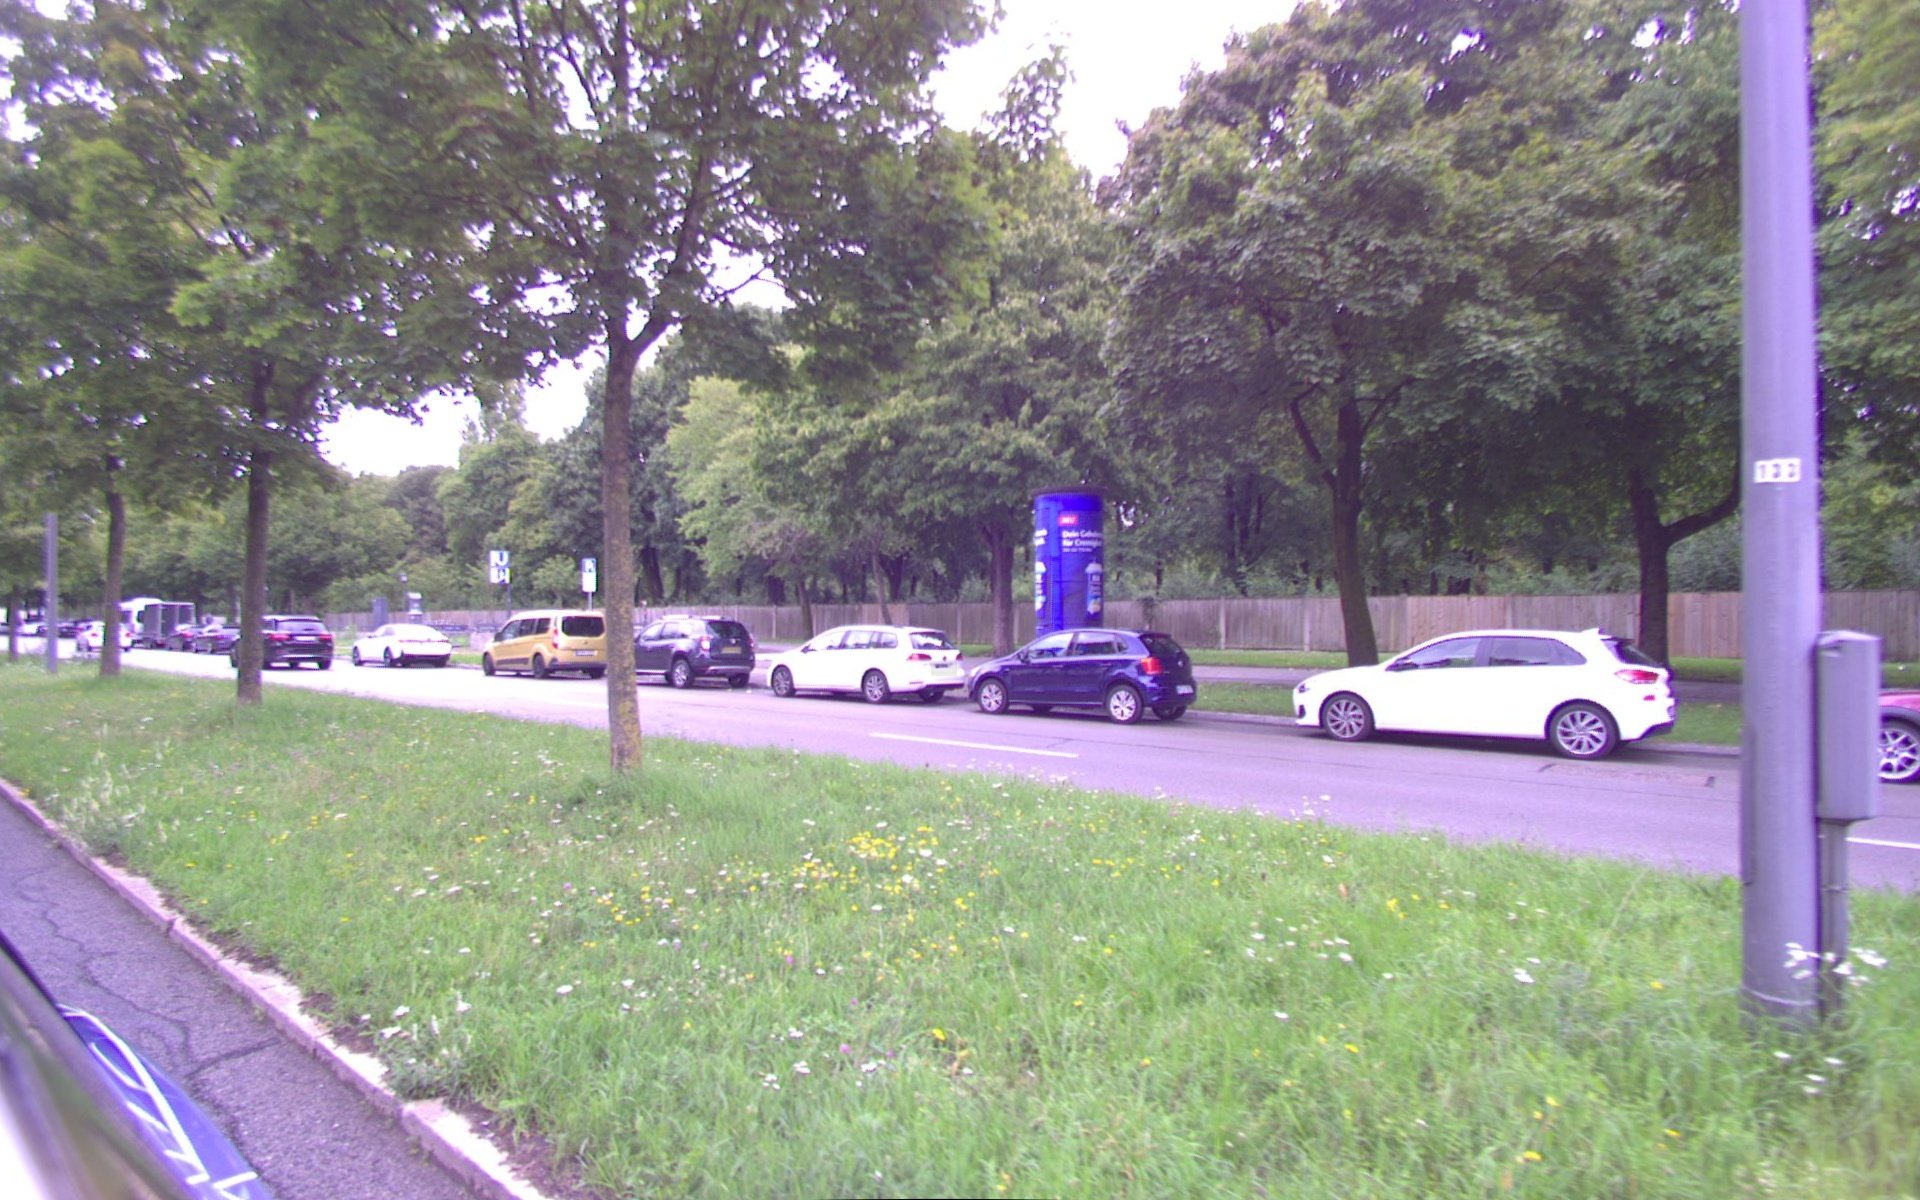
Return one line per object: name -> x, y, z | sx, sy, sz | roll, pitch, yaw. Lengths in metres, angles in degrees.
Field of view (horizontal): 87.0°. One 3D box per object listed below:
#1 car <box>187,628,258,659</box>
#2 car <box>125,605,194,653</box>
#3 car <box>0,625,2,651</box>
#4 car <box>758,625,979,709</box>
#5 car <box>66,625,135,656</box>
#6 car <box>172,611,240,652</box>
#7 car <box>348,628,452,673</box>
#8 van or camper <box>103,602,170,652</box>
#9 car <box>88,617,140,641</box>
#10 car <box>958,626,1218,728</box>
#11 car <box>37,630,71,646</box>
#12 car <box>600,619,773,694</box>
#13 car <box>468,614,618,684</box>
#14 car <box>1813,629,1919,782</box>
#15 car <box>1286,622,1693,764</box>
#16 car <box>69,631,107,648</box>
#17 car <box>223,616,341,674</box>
car -> -35.153, 2.056, 48.192 | 4.036, 1.420, 1.696 | -1, -3, 38
car -> -44.904, 1.628, 56.739 | 4.494, 2.611, 1.974 | -1, -3, 38
car -> -64.793, 2.455, 66.726 | 4.497, 1.671, 1.842 | -1, -3, 40
car -> -1.864, 1.246, 19.896 | 4.295, 1.481, 1.804 | -1, -3, 38
car -> -42.319, 1.993, 49.780 | 4.497, 1.467, 1.842 | -1, -3, 40
car -> -38.741, 1.604, 51.953 | 3.997, 2.029, 1.973 | -1, -1, 40
car -> -19.312, 1.717, 34.840 | 4.036, 1.454, 1.696 | -1, -3, 38
van or camper -> -48.640, 1.615, 59.734 | 4.926, 2.829, 1.974 | -1, -3, 38
car -> -52.659, 1.797, 62.981 | 4.036, 1.420, 1.696 | -1, -3, 38
car -> 2.014, 1.171, 16.355 | 3.783, 1.457, 1.804 | -1, -4, 38
car -> -84.078, 3.534, 93.895 | 4.036, 1.420, 1.696 | -1, -3, 38
car -> -6.540, 1.284, 24.056 | 4.036, 1.628, 1.982 | -1, -3, 38
car -> -11.509, 1.312, 27.816 | 4.528, 1.784, 1.839 | -1, -3, 38
car -> 10.340, 1.008, 9.371 | 3.685, 1.433, 1.632 | -1, -4, 41
car -> 6.532, 1.065, 12.779 | 4.258, 1.488, 1.802 | -1, -4, 41
car -> -74.762, 3.405, 86.767 | 4.036, 1.420, 1.696 | -1, -3, 38
car -> -21.190, 1.391, 31.575 | 4.497, 1.682, 1.842 | -1, -3, 40
